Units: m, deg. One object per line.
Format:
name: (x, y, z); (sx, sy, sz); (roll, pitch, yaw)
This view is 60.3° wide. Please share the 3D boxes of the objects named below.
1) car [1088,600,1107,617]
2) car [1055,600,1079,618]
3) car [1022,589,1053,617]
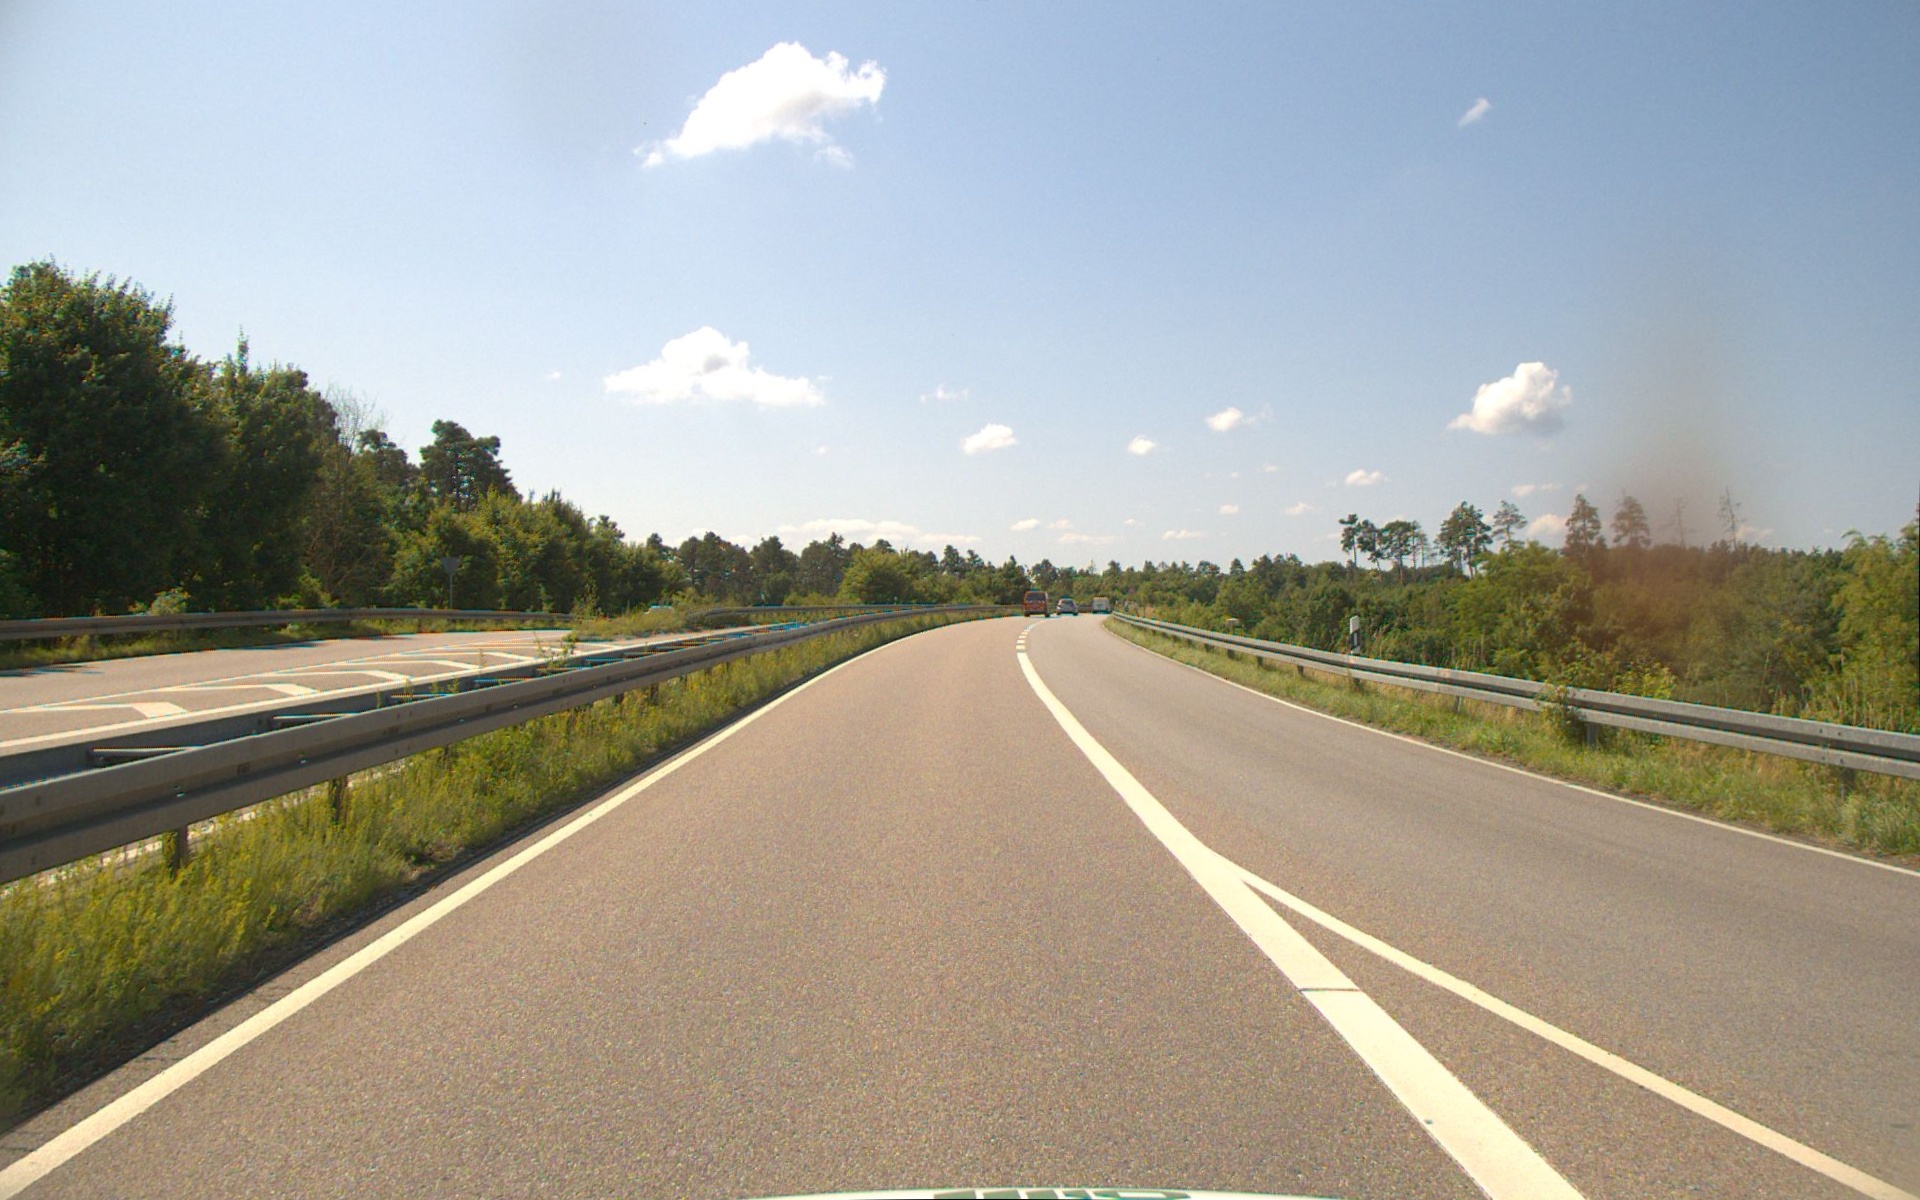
car: (16.810, 1.033, 202.258); (2.138, 1.989, 5.807); (1, -1, 6)
car: (9.745, 0.847, 150.810); (1.965, 1.520, 4.241); (1, -1, 7)
car: (6.021, 0.273, 128.696); (2.033, 2.028, 5.115); (1, -1, 7)
